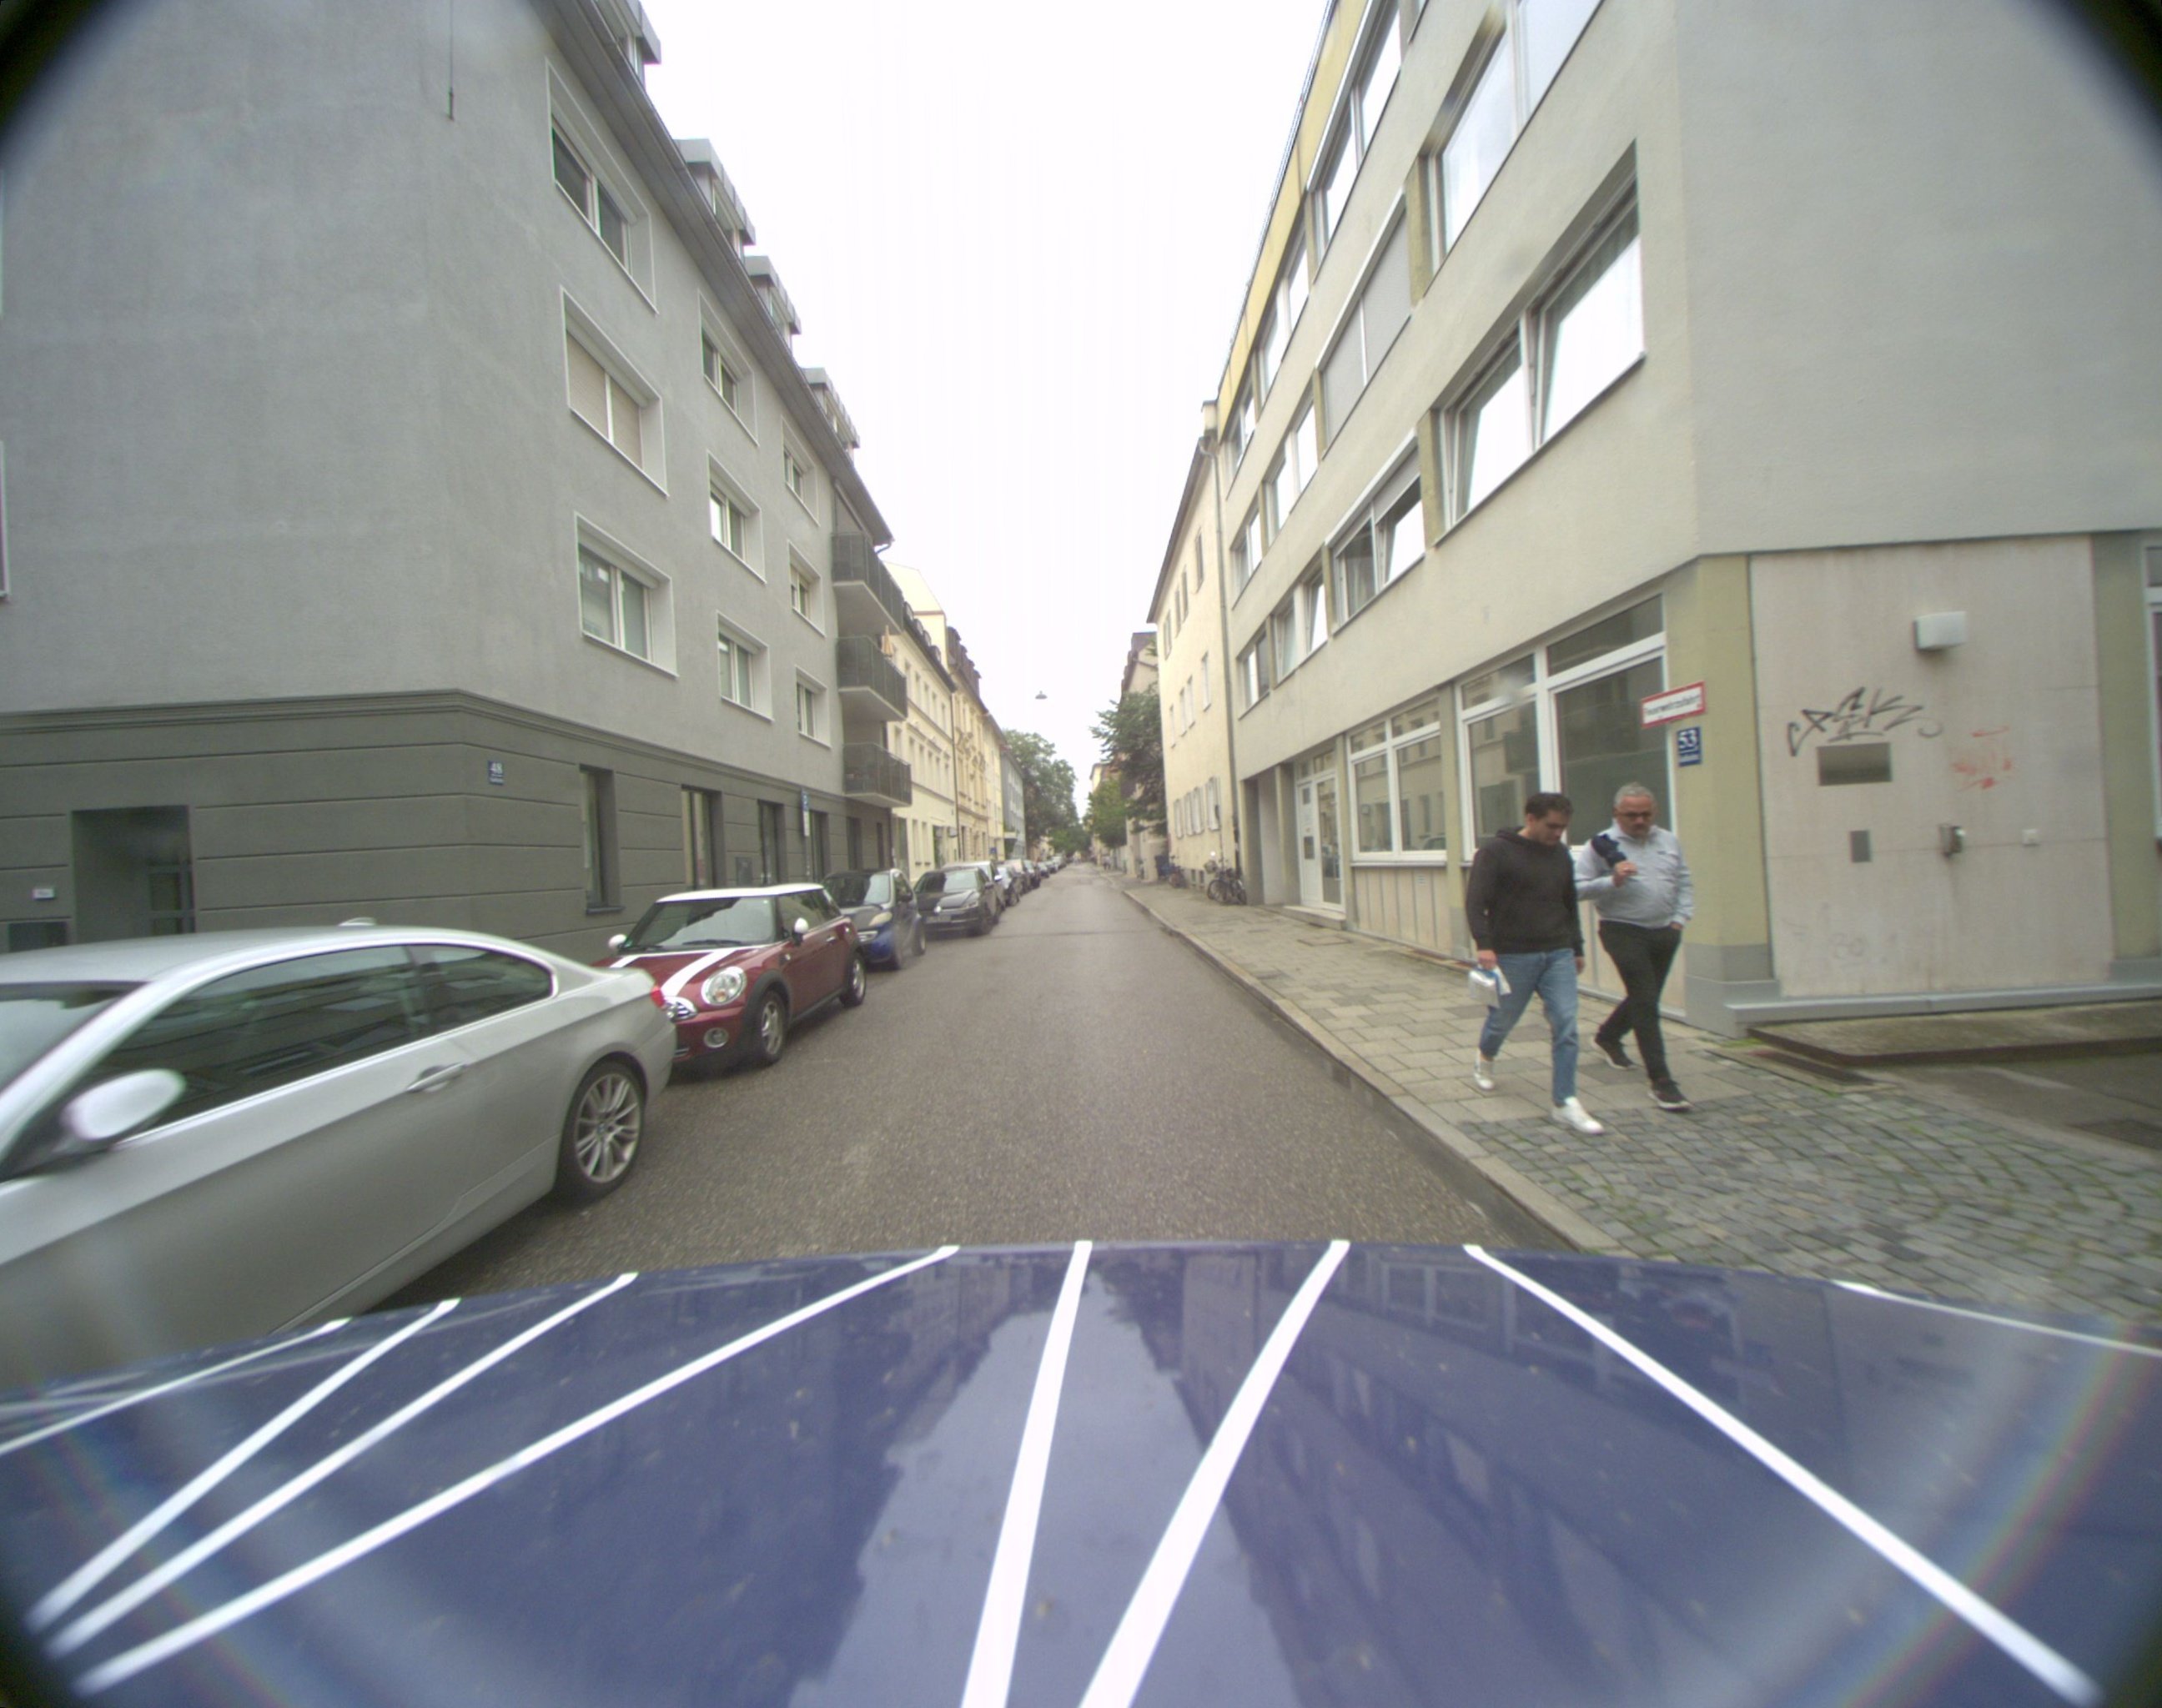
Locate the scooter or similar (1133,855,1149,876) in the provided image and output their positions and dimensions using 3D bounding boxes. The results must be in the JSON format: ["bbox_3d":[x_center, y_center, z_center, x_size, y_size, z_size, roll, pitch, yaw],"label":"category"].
[{"bbox_3d":[3.645,0.701,46.155,0.553,1.137,1.359,-6,1,17],"label":"scooter or similar"}]

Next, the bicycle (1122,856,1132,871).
[{"bbox_3d":[3.484,0.704,57.731,0.539,1.132,1.916,-5,0,-1],"label":"bicycle"}]

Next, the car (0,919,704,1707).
[{"bbox_3d":[-3.205,1.155,2.262,1.841,1.409,4.600,-4,0,-1],"label":"car"}]

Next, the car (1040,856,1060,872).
[{"bbox_3d":[-3.255,1.083,80.670,1.846,1.420,4.263,-7,0,-2],"label":"car"}]

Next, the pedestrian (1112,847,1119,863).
[{"bbox_3d":[3.770,0.117,83.294,0.615,1.612,0.687,-6,1,0],"label":"pedestrian"}]

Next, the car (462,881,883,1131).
[{"bbox_3d":[-3.328,1.113,7.275,1.750,1.453,4.149,-4,0,-1],"label":"car"}]

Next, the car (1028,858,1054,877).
[{"bbox_3d":[-3.316,1.072,63.281,1.830,1.327,4.508,-7,0,0],"label":"car"}]

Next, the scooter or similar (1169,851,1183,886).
[{"bbox_3d":[3.841,0.562,30.753,0.318,1.368,1.239,-2,1,0],"label":"scooter or similar"}]

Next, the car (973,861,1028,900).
[{"bbox_3d":[-3.283,1.057,31.659,1.804,1.377,4.348,-3,0,-1],"label":"car"}]

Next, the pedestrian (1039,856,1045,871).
[{"bbox_3d":[-5.237,1.272,102.155,0.581,1.966,0.455,-4,1,0],"label":"pedestrian"}]

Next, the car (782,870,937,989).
[{"bbox_3d":[-3.427,1.100,12.315,1.525,1.502,3.202,-4,0,-1],"label":"car"}]

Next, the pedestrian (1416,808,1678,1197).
[{"bbox_3d":[2.351,0.688,3.944,0.720,1.755,0.838,-5,1,0],"label":"pedestrian"}]

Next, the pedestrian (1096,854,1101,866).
[{"bbox_3d":[2.652,0.873,115.041,0.766,1.742,0.970,-3,0,-1],"label":"pedestrian"}]

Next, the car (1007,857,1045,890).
[{"bbox_3d":[-3.015,1.035,42.406,1.706,1.597,4.684,-4,0,0],"label":"car"}]

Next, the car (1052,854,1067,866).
[{"bbox_3d":[-3.232,0.902,115.848,1.998,1.677,4.510,-3,0,1],"label":"car"}]

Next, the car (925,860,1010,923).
[{"bbox_3d":[-3.145,0.990,21.912,1.880,1.561,4.315,-2,0,-2],"label":"car"}]

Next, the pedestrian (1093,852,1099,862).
[{"bbox_3d":[2.672,0.567,134.647,0.920,1.742,1.066,-3,0,-1],"label":"pedestrian"}]

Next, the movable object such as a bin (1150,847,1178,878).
[{"bbox_3d":[4.227,0.437,38.785,1.177,1.433,1.249,-8,-1,6],"label":"movable object such as a bin"}]

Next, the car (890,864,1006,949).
[{"bbox_3d":[-2.839,1.072,17.217,1.844,1.519,4.292,-4,0,-1],"label":"car"}]

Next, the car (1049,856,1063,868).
[{"bbox_3d":[-3.426,1.057,105.156,1.860,1.366,4.509,-5,0,-2],"label":"car"}]

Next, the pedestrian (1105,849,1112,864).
[{"bbox_3d":[3.044,0.251,83.288,0.624,1.570,0.714,-4,1,0],"label":"pedestrian"}]

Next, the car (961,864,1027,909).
[{"bbox_3d":[-3.015,1.099,27.122,1.812,1.355,3.945,-3,0,1],"label":"car"}]

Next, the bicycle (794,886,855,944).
[{"bbox_3d":[-5.616,1.307,16.737,0.570,1.085,1.996,-3,0,1],"label":"bicycle"}]

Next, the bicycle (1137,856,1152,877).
[{"bbox_3d":[3.691,0.702,44.090,0.545,1.154,1.882,-5,0,-2],"label":"bicycle"}]

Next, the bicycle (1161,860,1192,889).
[{"bbox_3d":[3.619,0.772,29.024,0.705,0.978,1.822,-7,1,-4],"label":"bicycle"}]

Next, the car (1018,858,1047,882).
[{"bbox_3d":[-3.357,1.113,52.660,1.680,1.484,3.853,-4,0,0],"label":"car"}]

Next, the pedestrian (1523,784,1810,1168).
[{"bbox_3d":[3.069,0.584,4.093,0.720,1.786,0.916,-5,1,0],"label":"pedestrian"}]

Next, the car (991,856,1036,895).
[{"bbox_3d":[-3.194,0.966,36.605,1.680,1.651,4.512,-4,0,0],"label":"car"}]

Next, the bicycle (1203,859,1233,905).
[{"bbox_3d":[3.758,0.739,20.881,0.459,1.153,1.605,-6,1,1],"label":"bicycle"}]

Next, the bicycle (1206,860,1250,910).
[{"bbox_3d":[3.678,0.758,19.165,0.563,1.153,1.720,-4,1,-6],"label":"bicycle"}]
